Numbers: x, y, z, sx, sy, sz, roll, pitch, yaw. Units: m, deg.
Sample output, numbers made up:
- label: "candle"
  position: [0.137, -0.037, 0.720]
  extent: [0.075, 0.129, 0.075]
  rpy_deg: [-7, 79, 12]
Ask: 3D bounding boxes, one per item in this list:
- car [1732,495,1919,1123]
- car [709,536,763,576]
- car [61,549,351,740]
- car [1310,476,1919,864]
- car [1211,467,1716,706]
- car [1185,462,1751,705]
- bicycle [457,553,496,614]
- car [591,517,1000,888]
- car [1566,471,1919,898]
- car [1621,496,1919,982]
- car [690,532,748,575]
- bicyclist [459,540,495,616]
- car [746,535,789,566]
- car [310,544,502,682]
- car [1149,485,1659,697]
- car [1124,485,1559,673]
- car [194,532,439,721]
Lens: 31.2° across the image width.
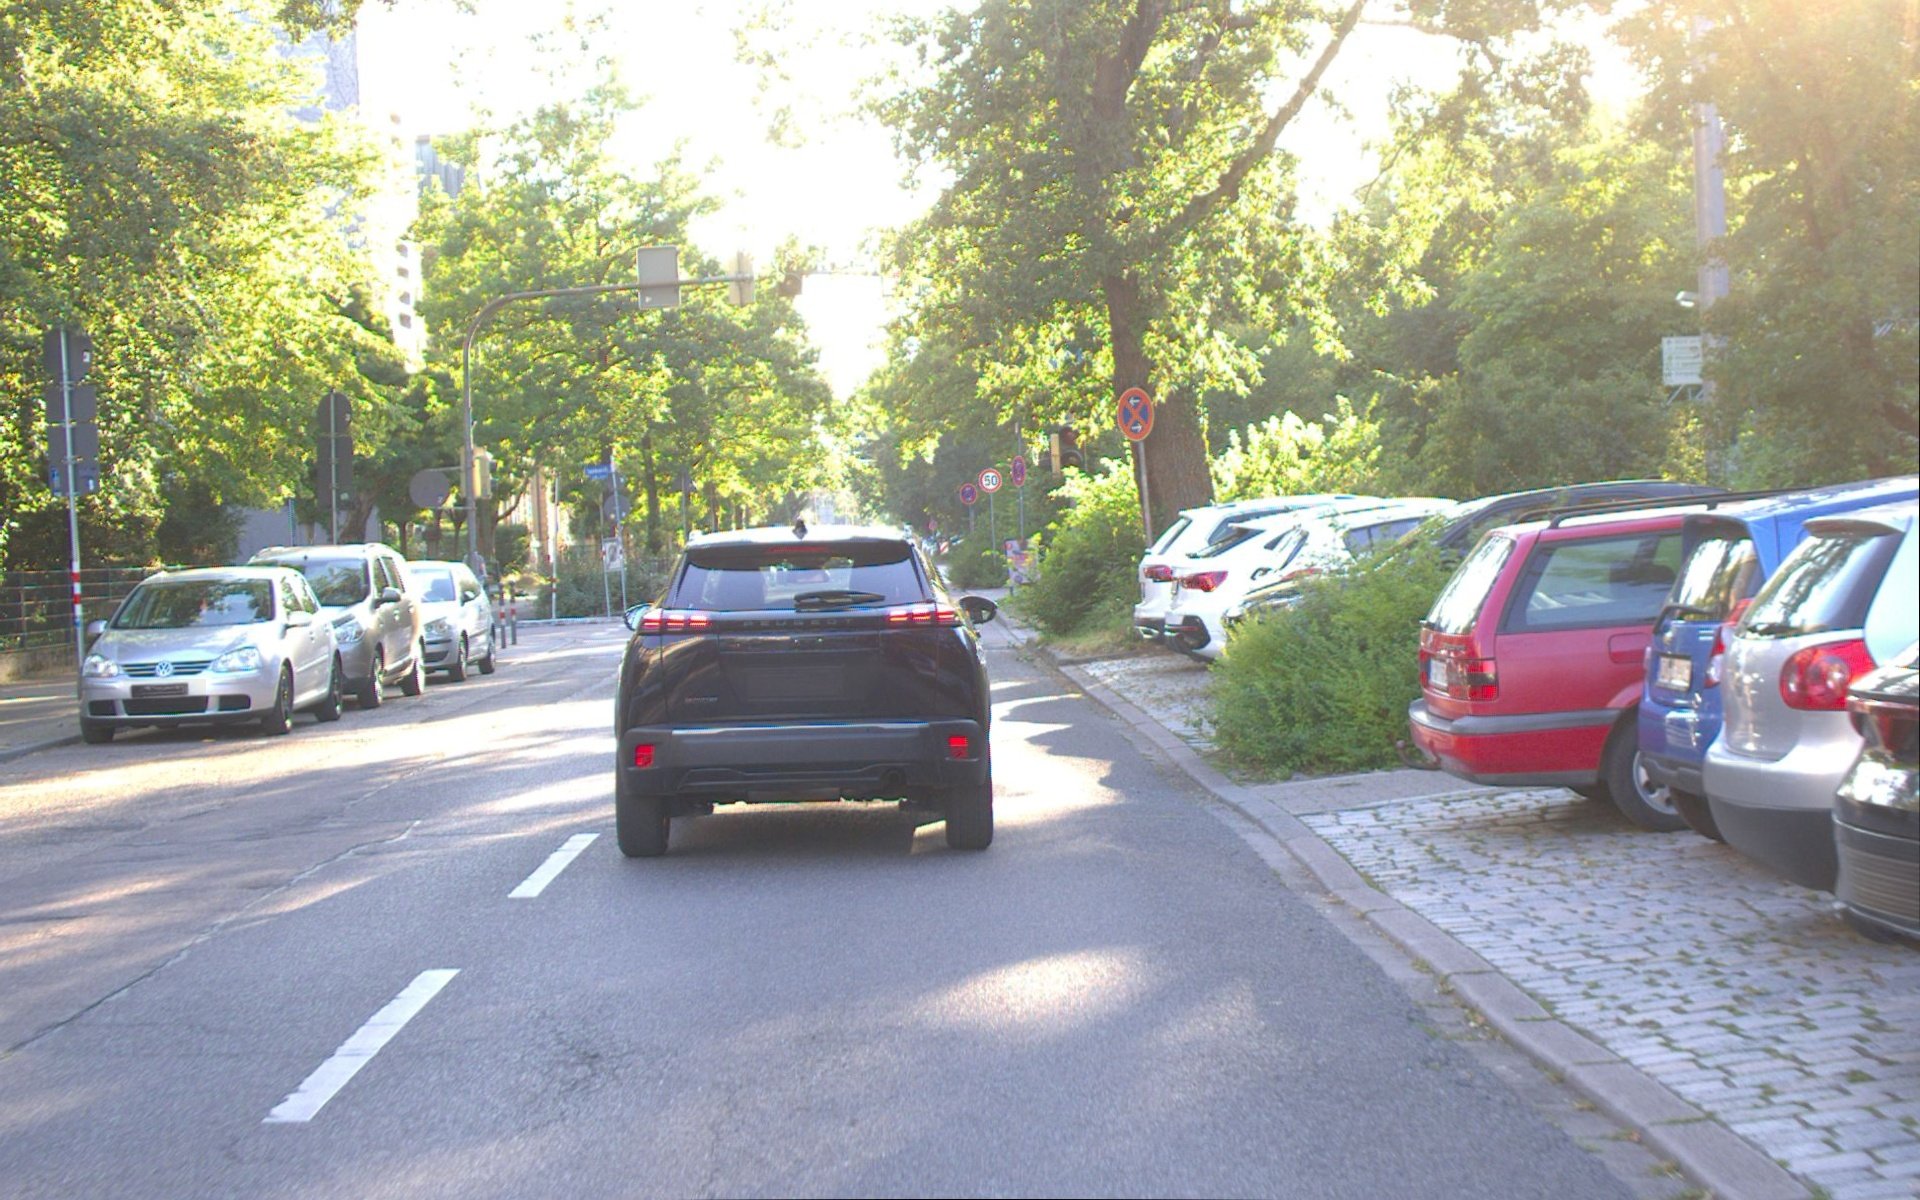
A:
- label: "car"
  position: [4.284, 0.318, 8.755]
  extent: [4.120, 1.469, 1.832]
  rpy_deg: [-5, 1, 1]
- label: "car"
  position: [-8.193, -1.612, 125.633]
  extent: [1.810, 1.349, 4.001]
  rpy_deg: [-3, 1, -5]
- label: "car"
  position: [-6.617, 0.340, 30.572]
  extent: [1.671, 1.488, 4.061]
  rpy_deg: [-2, 1, -1]
- label: "car"
  position: [3.985, 0.228, 16.405]
  extent: [4.338, 1.470, 1.742]
  rpy_deg: [-5, 2, 0]
- label: "car"
  position: [3.929, -0.111, 27.242]
  extent: [3.588, 1.561, 1.818]
  rpy_deg: [-4, 0, -2]
- label: "car"
  position: [3.606, -0.132, 24.822]
  extent: [3.744, 1.589, 1.697]
  rpy_deg: [-2, 1, -3]
- label: "bicycle"
  position: [-10.461, -0.366, 74.469]
  extent: [0.686, 1.245, 2.193]
  rpy_deg: [-2, 1, -5]
- label: "car"
  position: [-0.795, 0.415, 17.028]
  extent: [1.768, 1.563, 3.381]
  rpy_deg: [-2, 2, -2]
- label: "car"
  position: [4.624, 0.192, 14.268]
  extent: [3.711, 1.550, 1.742]
  rpy_deg: [-5, 1, -4]
- label: "car"
  position: [4.441, 0.283, 11.702]
  extent: [3.924, 1.449, 1.832]
  rpy_deg: [-5, 1, 1]
- label: "car"
  position: [-8.383, -1.632, 119.382]
  extent: [1.810, 1.349, 4.001]
  rpy_deg: [-3, 1, -6]
- label: "bicyclist"
  position: [-10.463, -0.481, 74.499]
  extent: [0.675, 1.598, 0.706]
  rpy_deg: [-2, 1, -5]
- label: "car"
  position: [-8.945, -2.301, 159.465]
  extent: [1.810, 1.349, 3.980]
  rpy_deg: [-3, 1, -5]
- label: "car"
  position: [-6.786, 0.123, 42.457]
  extent: [1.679, 1.452, 3.882]
  rpy_deg: [-4, 2, 0]
- label: "car"
  position: [3.775, -0.095, 29.685]
  extent: [4.122, 1.661, 1.723]
  rpy_deg: [-2, 1, -1]
- label: "car"
  position: [3.768, -0.224, 34.459]
  extent: [4.170, 1.704, 1.867]
  rpy_deg: [-2, 1, 3]
- label: "car"
  position: [-6.674, 0.216, 36.065]
  extent: [1.679, 1.702, 4.341]
  rpy_deg: [-4, 2, 0]
